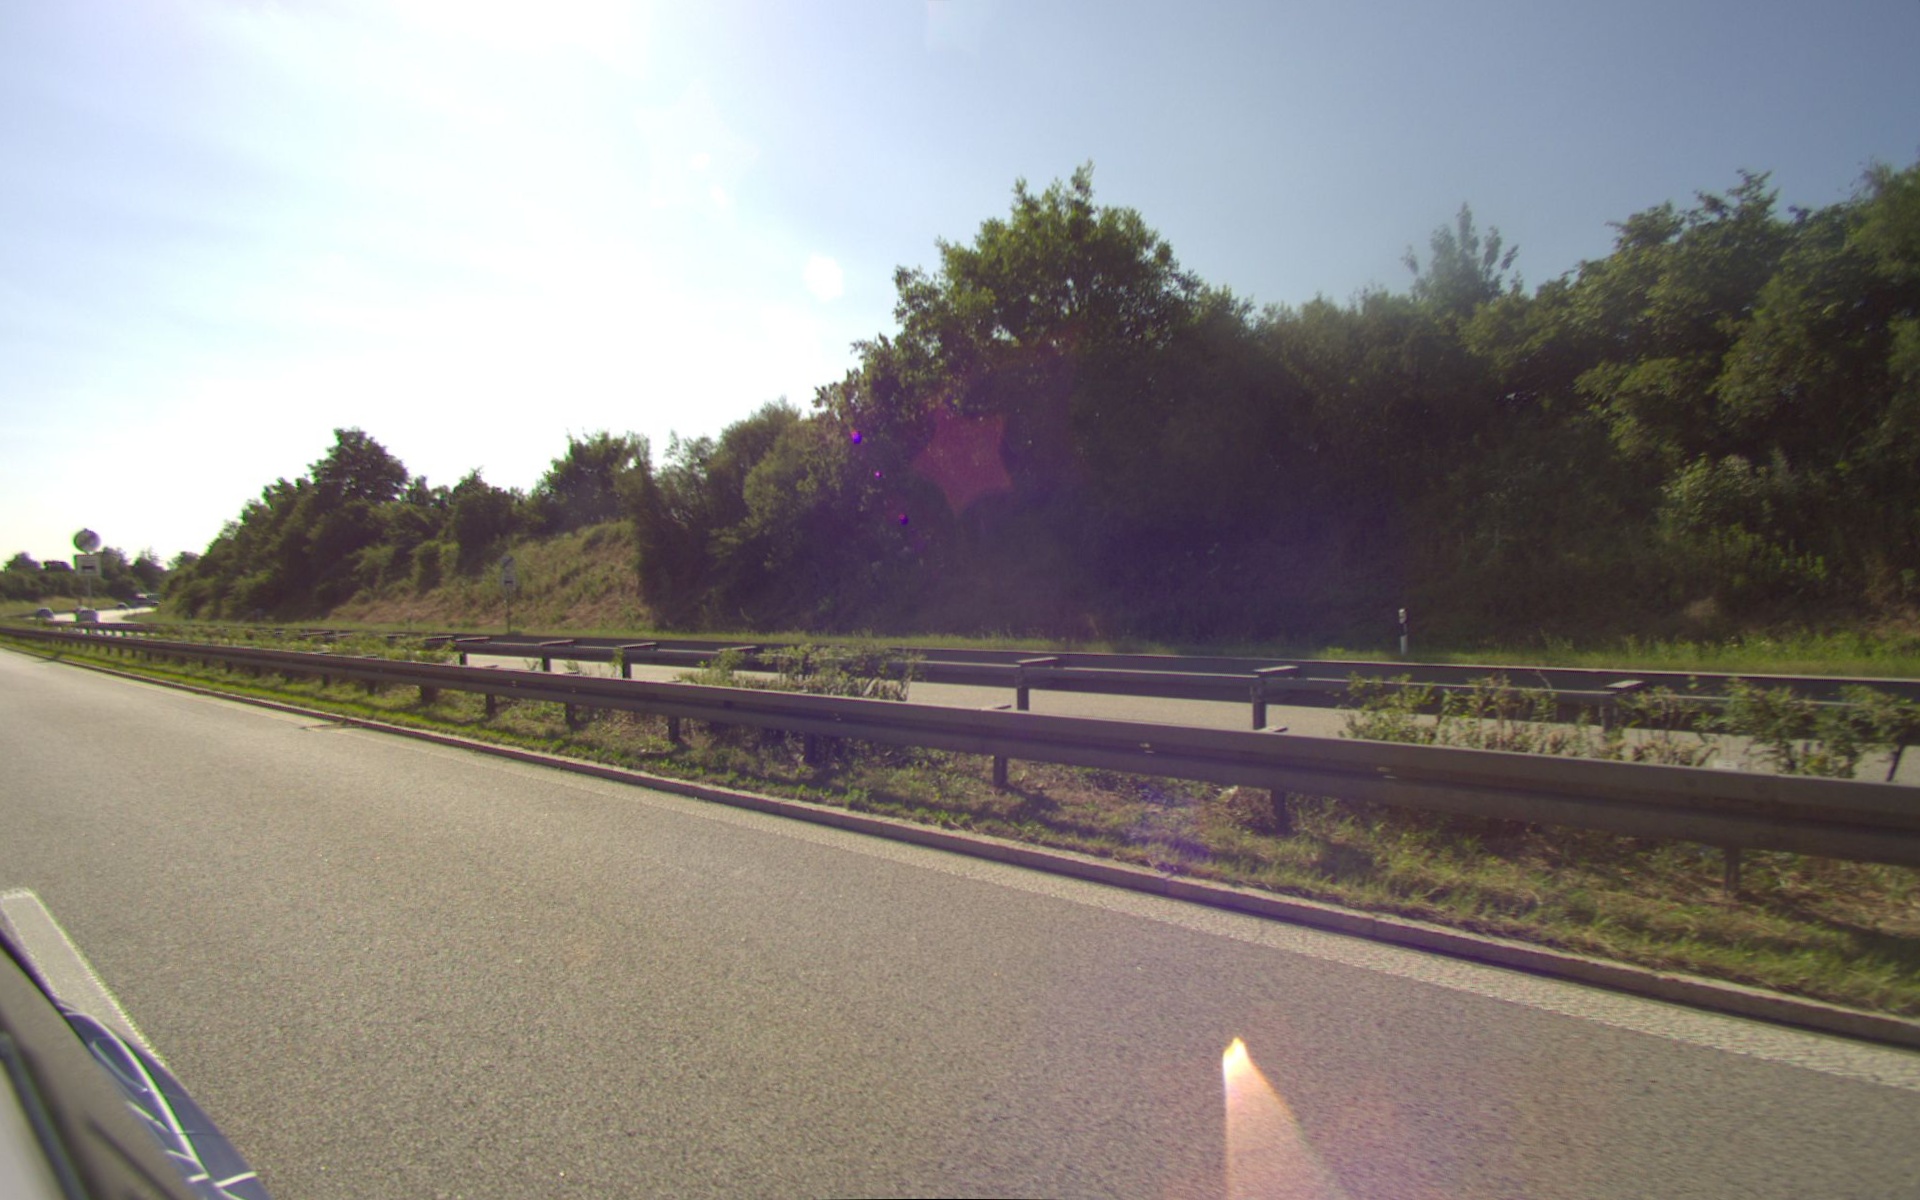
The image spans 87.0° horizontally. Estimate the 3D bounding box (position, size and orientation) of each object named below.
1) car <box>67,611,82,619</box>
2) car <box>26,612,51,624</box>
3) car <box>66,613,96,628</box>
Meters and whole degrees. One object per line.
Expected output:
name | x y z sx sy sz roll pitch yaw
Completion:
car | -161.572 2.710 184.637 4.910 1.465 1.626 1 0 45
car | -119.742 2.317 131.484 4.676 1.557 1.972 0 -1 43
car | -90.316 2.078 103.995 4.412 1.449 1.820 -1 0 42
